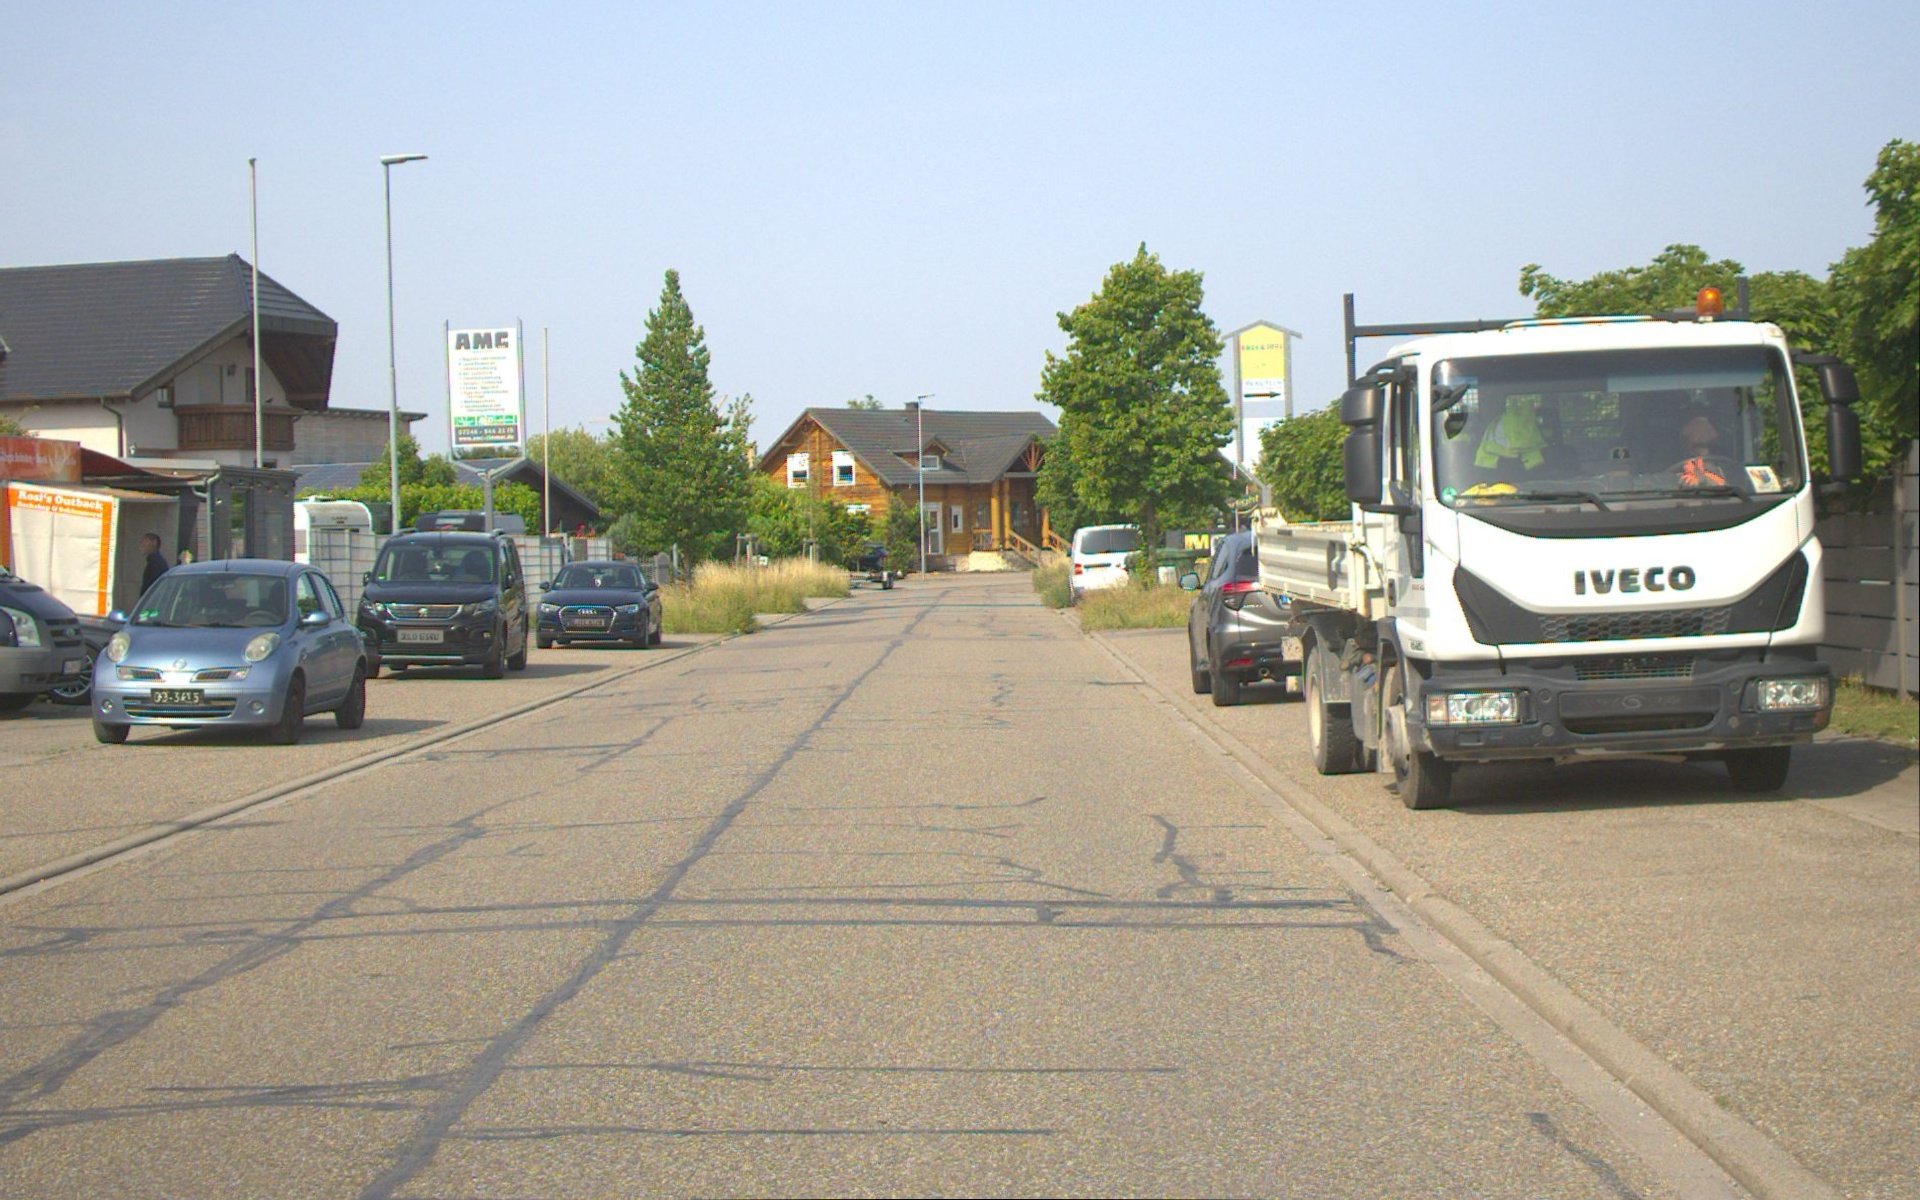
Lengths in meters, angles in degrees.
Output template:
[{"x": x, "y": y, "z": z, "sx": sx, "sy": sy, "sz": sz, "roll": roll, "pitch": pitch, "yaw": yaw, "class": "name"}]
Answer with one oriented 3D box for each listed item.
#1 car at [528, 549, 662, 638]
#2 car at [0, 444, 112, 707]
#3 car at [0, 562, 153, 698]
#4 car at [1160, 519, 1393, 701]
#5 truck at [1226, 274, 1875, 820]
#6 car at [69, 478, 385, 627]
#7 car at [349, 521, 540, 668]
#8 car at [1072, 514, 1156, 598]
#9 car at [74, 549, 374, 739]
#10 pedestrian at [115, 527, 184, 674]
[{"x": -5.932, "y": -0.134, "z": 56.219, "sx": 1.800, "sy": 1.382, "sz": 3.638, "roll": 0, "pitch": 1, "yaw": 0, "class": "car"}, {"x": -10.709, "y": -0.179, "z": 32.784, "sx": 4.627, "sy": 2.408, "sz": 2.000, "roll": -2, "pitch": 1, "yaw": 3, "class": "car"}, {"x": -10.679, "y": 0.301, "z": 37.063, "sx": 3.587, "sy": 1.409, "sz": 1.762, "roll": 0, "pitch": 1, "yaw": -3, "class": "car"}, {"x": 2.926, "y": 0.040, "z": 32.506, "sx": 1.794, "sy": 1.555, "sz": 4.001, "roll": -1, "pitch": 2, "yaw": 0, "class": "car"}, {"x": 3.233, "y": -0.333, "z": 20.554, "sx": 2.359, "sy": 2.672, "sz": 6.512, "roll": -2, "pitch": 1, "yaw": -3, "class": "truck"}, {"x": -13.752, "y": -0.890, "z": 64.572, "sx": 5.162, "sy": 2.577, "sz": 2.574, "roll": -2, "pitch": 1, "yaw": 21, "class": "car"}, {"x": -6.491, "y": -0.104, "z": 43.690, "sx": 1.800, "sy": 1.768, "sz": 4.203, "roll": 0, "pitch": 1, "yaw": 0, "class": "car"}, {"x": 3.679, "y": -1.074, "z": 82.627, "sx": 1.837, "sy": 1.917, "sz": 3.756, "roll": -2, "pitch": 1, "yaw": 1, "class": "car"}, {"x": -6.236, "y": 0.323, "z": 29.489, "sx": 1.633, "sy": 1.512, "sz": 3.605, "roll": 0, "pitch": 1, "yaw": 3, "class": "car"}, {"x": -9.563, "y": 0.001, "z": 40.555, "sx": 0.562, "sy": 1.709, "sz": 0.534, "roll": -2, "pitch": 1, "yaw": -37, "class": "pedestrian"}]
